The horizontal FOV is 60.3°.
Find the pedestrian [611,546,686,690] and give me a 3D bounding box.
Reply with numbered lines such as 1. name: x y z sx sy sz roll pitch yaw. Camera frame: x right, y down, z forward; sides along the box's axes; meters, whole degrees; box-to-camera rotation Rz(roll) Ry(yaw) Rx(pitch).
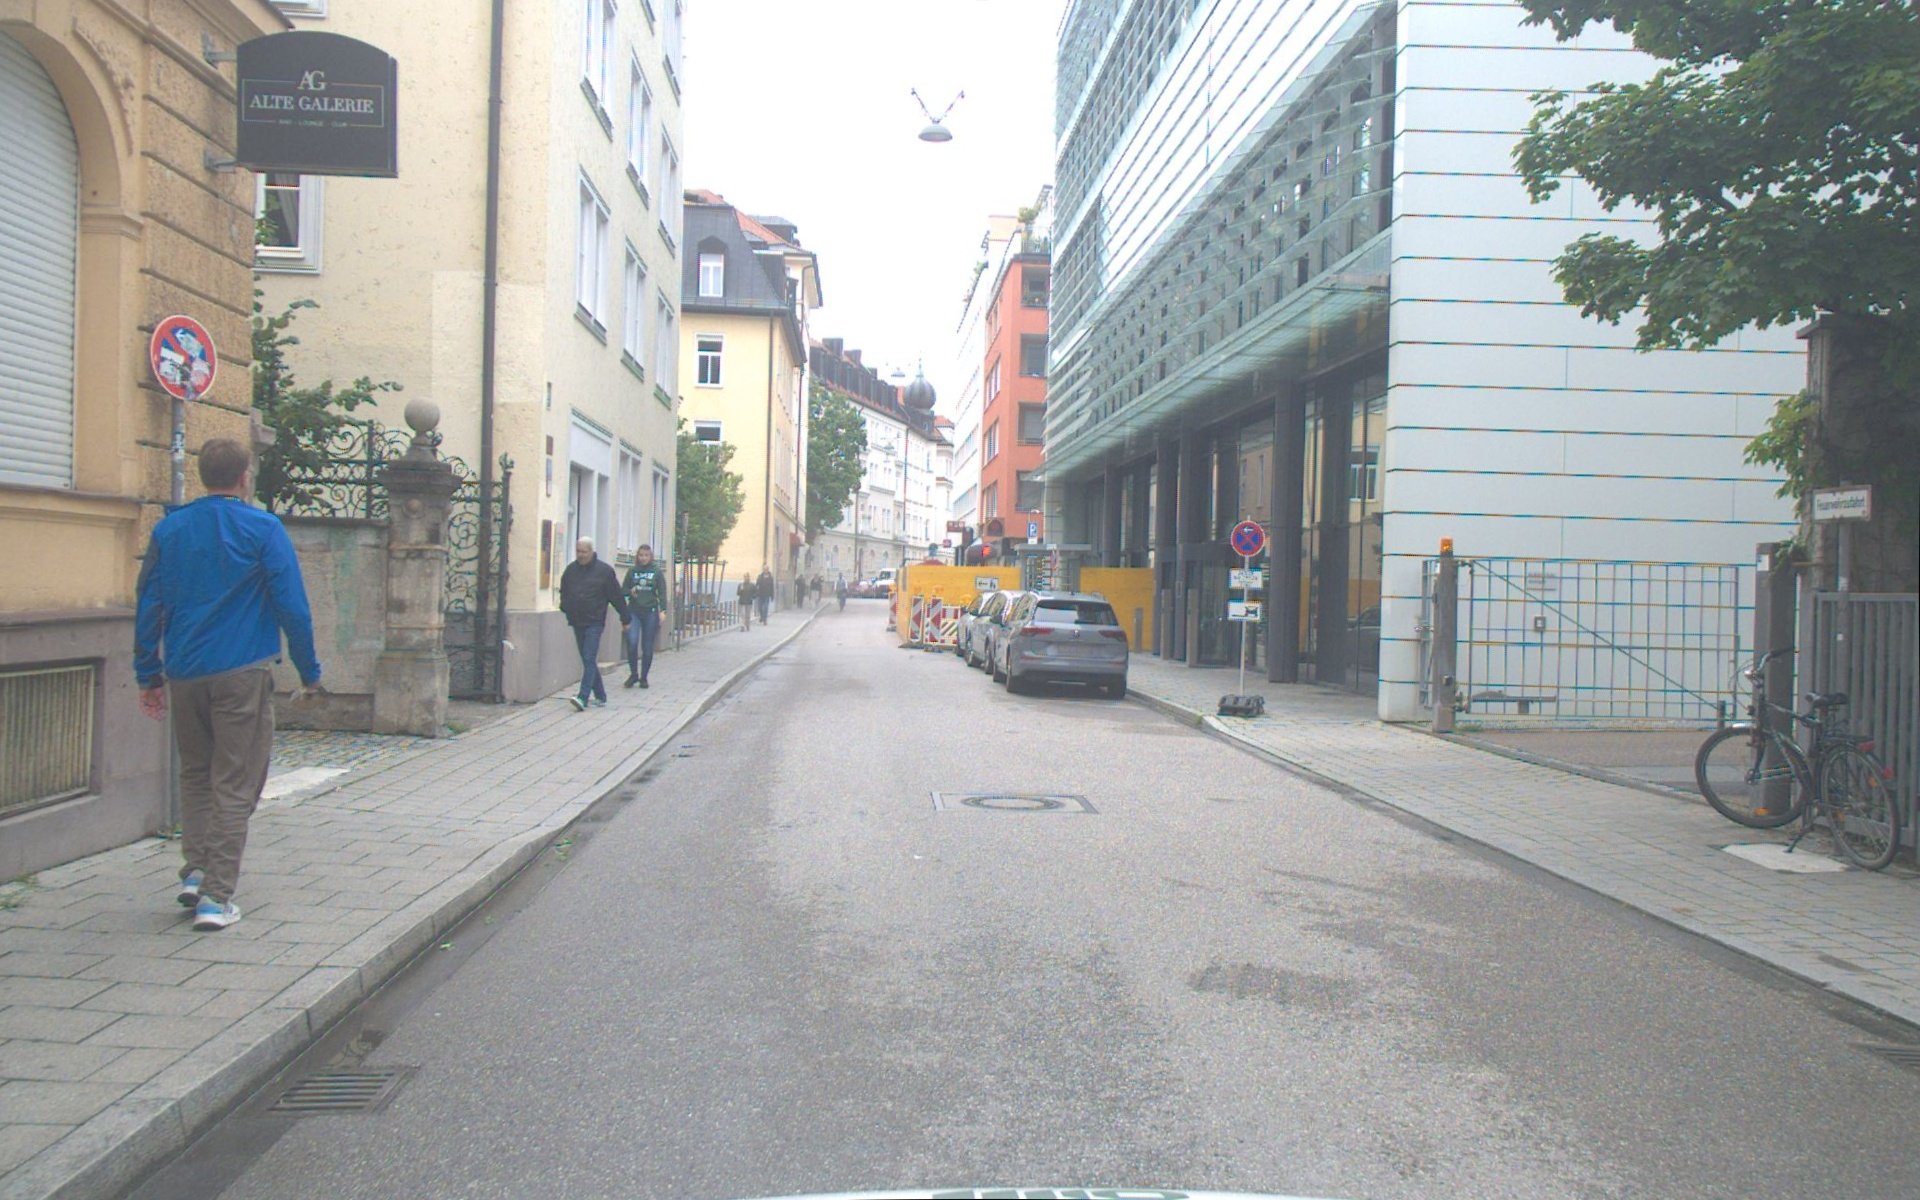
1. pedestrian: -3.866 0.215 20.595 0.698 1.694 0.929 4 0 -4

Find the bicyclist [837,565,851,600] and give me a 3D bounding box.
1. bicyclist: -5.670 -0.848 80.729 0.646 1.671 0.894 1 0 -4

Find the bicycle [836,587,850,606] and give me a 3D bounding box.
1. bicycle: -5.988 -0.173 84.824 0.694 0.921 1.808 1 0 -4

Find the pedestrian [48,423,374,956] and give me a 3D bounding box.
1. pedestrian: -2.884 0.322 6.493 0.742 1.887 1.076 3 0 -4

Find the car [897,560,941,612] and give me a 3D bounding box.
1. car: -2.191 -0.757 87.272 1.954 2.581 4.971 2 0 -4

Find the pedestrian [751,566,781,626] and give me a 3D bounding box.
1. pedestrian: -6.299 -0.133 53.847 0.851 1.914 1.134 2 0 -5

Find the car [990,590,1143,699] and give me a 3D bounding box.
1. car: 1.503 0.598 24.847 1.674 1.457 4.326 2 0 -4

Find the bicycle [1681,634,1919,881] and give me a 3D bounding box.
1. bicycle: 5.198 0.897 10.071 0.693 1.219 1.833 1 3 -3

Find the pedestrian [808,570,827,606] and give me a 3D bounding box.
1. pedestrian: -6.965 -0.603 80.885 0.823 1.730 0.802 2 0 -4

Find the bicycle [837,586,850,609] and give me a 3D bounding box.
1. bicycle: -5.689 -0.126 80.816 0.648 1.057 2.003 1 0 -4

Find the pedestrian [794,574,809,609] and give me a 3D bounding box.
1. pedestrian: -7.770 -0.424 81.087 0.657 1.677 0.761 2 0 -5

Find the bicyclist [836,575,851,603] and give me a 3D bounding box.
1. bicyclist: -5.978 -0.577 84.841 0.694 1.395 0.812 1 0 -4

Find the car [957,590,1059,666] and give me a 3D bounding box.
1. car: 0.957 0.550 35.281 1.674 1.438 4.506 3 0 -4

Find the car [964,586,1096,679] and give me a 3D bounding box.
1. car: 1.189 0.537 30.129 1.675 1.493 4.231 3 0 -7

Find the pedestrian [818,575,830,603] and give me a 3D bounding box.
1. pedestrian: -8.520 -0.689 103.678 0.622 1.704 0.517 2 0 -4

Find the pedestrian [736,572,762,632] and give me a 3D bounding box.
1. pedestrian: -6.074 0.054 47.647 0.634 1.705 0.723 2 0 -5

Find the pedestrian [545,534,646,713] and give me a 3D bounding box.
1. pedestrian: -3.938 0.249 17.949 0.888 1.859 0.955 2 0 -5
